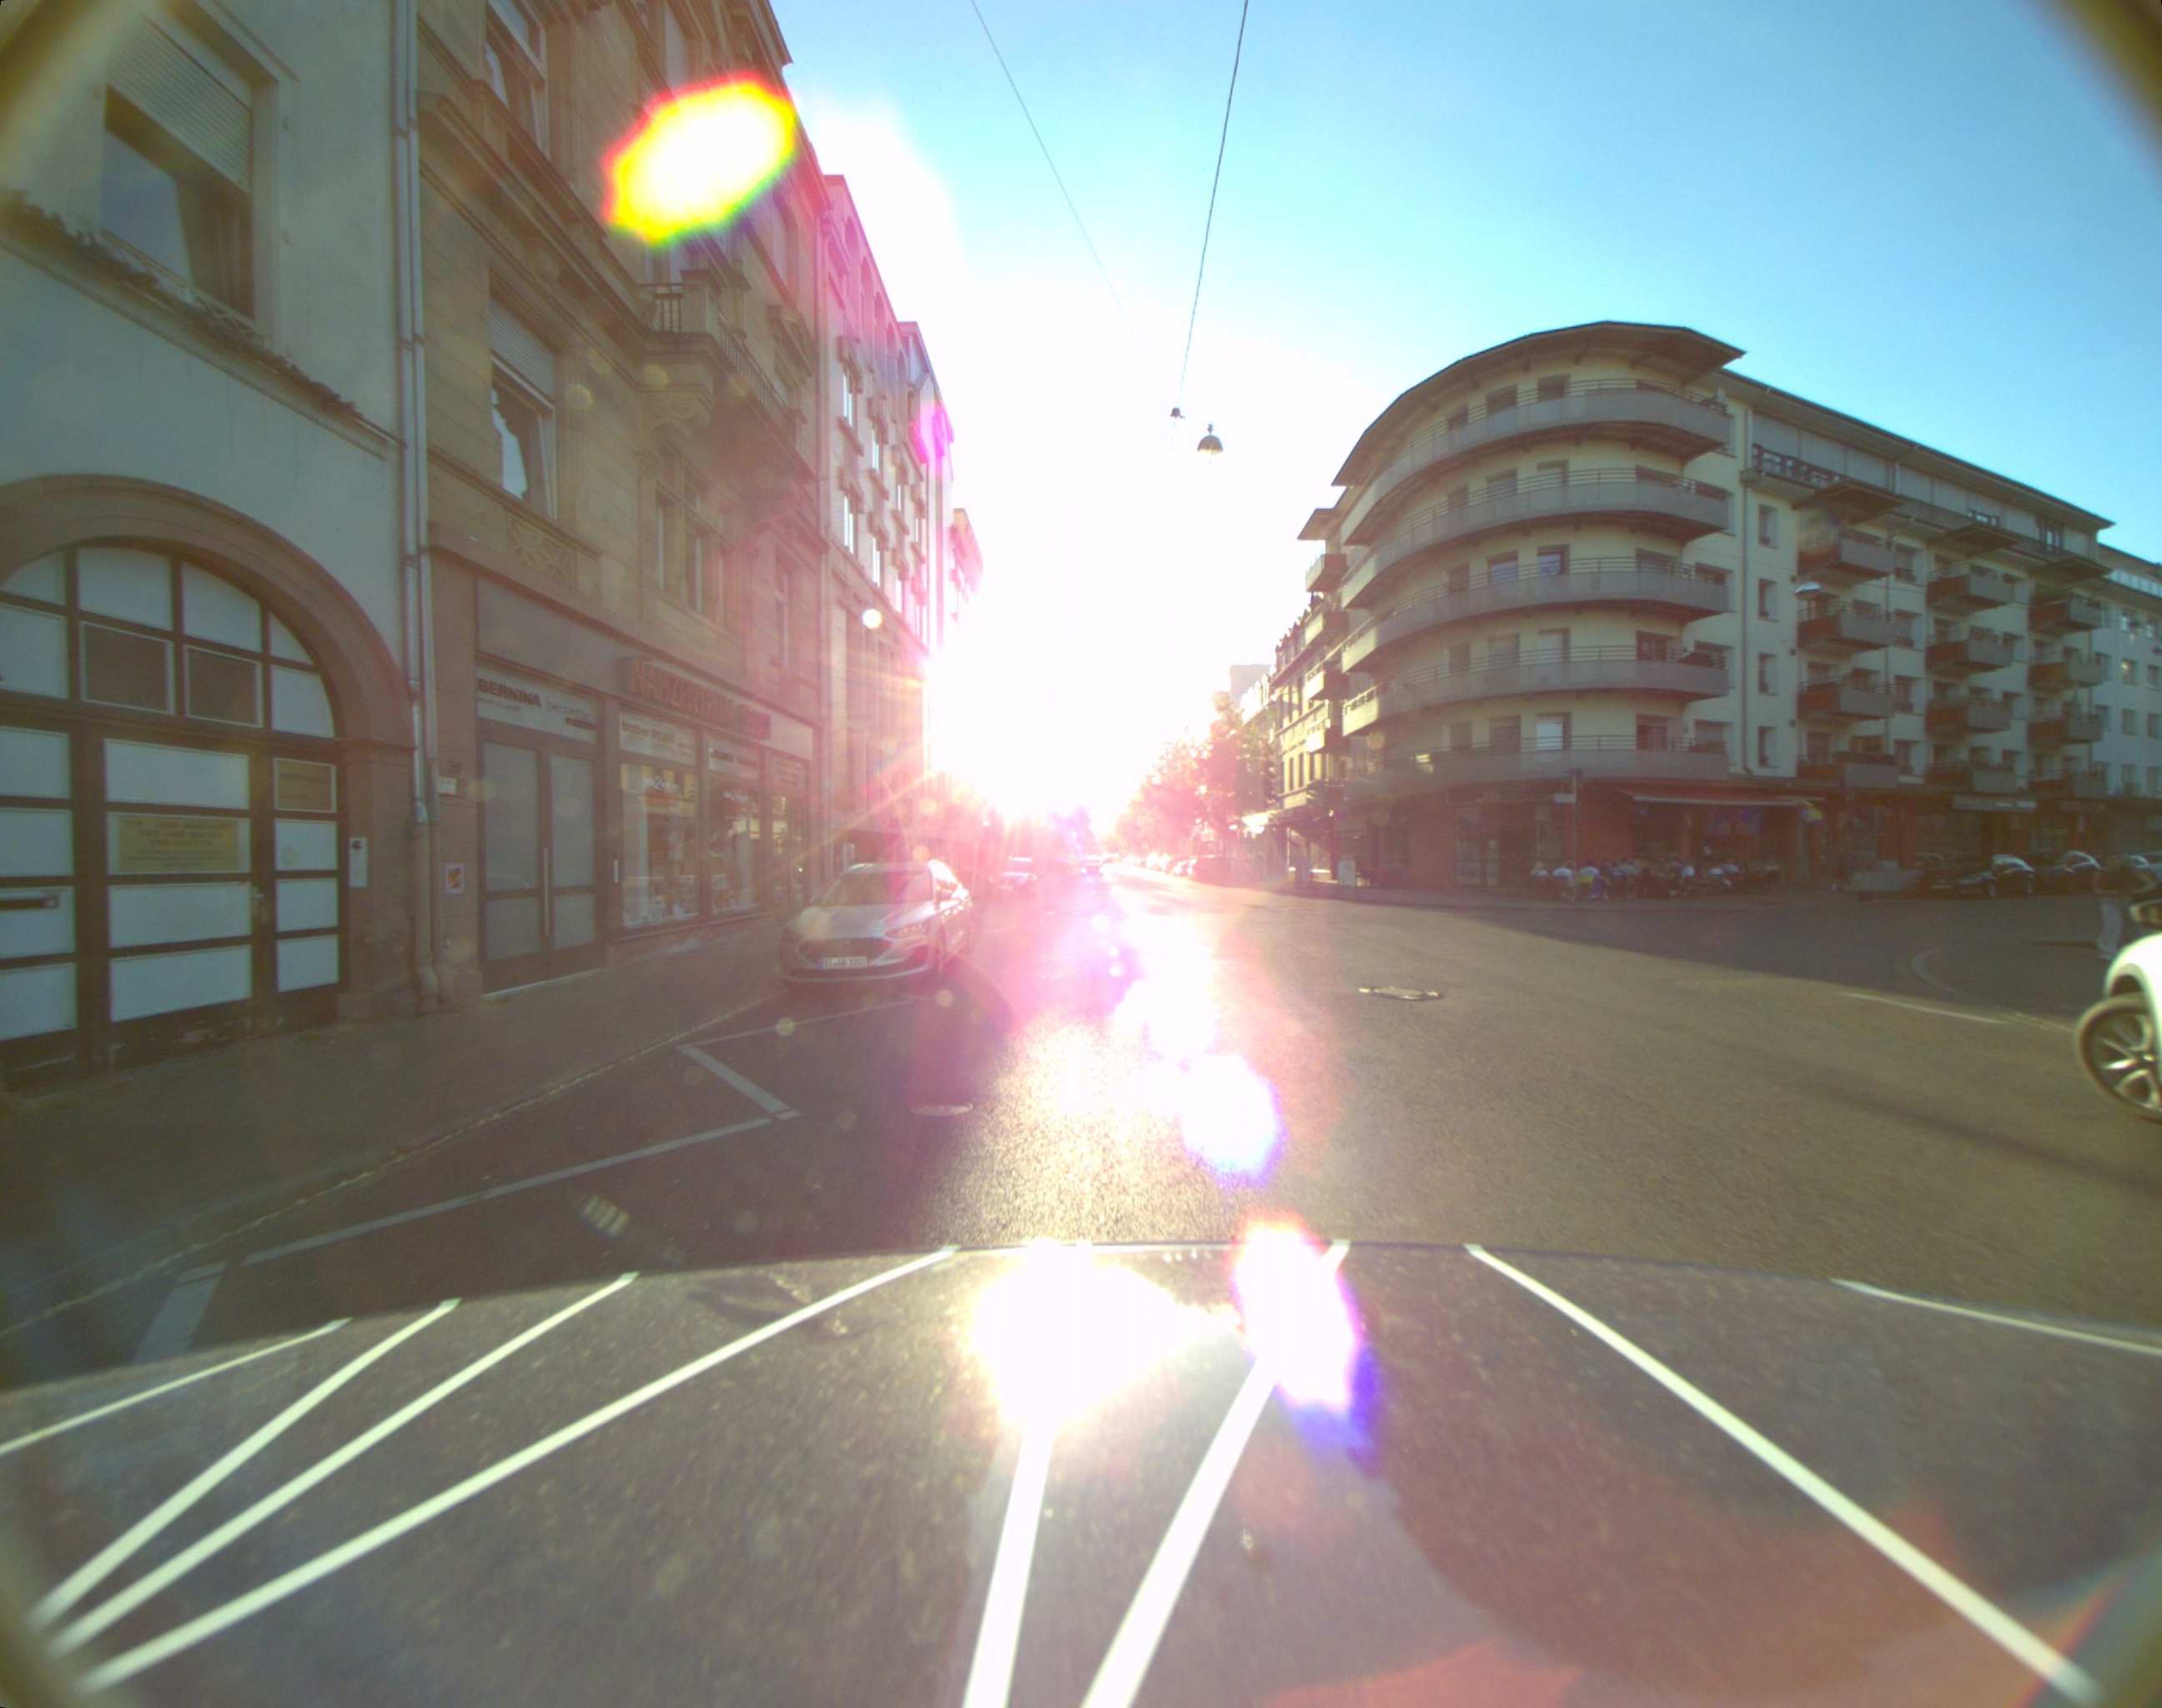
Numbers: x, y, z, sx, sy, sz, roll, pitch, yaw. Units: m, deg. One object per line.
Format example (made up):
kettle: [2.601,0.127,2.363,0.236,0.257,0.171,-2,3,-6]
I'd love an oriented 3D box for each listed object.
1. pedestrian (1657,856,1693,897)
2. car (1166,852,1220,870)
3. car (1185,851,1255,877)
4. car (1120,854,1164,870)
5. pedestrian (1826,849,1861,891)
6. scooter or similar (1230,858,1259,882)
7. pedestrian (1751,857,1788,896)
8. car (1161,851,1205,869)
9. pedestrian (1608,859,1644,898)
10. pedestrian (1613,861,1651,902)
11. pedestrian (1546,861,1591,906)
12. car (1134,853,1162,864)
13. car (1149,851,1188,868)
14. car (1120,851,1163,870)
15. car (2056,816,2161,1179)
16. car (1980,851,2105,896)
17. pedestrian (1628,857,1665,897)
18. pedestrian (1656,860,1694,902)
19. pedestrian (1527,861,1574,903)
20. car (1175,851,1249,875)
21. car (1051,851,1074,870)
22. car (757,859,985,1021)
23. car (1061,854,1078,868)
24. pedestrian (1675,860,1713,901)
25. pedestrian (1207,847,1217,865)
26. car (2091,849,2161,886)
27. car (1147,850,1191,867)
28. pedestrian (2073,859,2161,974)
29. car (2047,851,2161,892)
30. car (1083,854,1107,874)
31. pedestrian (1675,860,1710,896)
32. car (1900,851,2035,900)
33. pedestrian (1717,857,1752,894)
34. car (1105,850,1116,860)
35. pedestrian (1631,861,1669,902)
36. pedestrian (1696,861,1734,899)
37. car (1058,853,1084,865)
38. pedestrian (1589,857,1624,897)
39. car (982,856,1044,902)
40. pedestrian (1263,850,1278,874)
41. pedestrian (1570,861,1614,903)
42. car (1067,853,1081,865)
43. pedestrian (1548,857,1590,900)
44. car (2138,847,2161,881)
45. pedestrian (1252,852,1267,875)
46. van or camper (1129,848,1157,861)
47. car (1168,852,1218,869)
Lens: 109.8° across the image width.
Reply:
pedestrian: [19.897,0.745,25.458,0.622,1.326,0.701,0,2,-8]
car: [9.361,0.587,63.664,4.117,1.395,1.884,-2,0,-1]
car: [8.833,0.642,48.503,4.082,1.527,1.884,-2,0,1]
car: [6.085,0.806,75.725,4.160,1.413,1.766,-2,0,-1]
pedestrian: [26.970,0.562,26.873,0.702,1.461,0.620,-1,2,-25]
scooter or similar: [8.771,0.872,40.843,1.402,1.219,0.525,-2,1,-2]
pedestrian: [23.876,0.767,26.361,0.622,1.281,0.700,-1,2,-20]
car: [9.277,0.543,69.203,3.748,1.435,1.805,-2,0,-2]
pedestrian: [17.821,0.782,24.870,0.622,1.240,0.701,0,2,-8]
pedestrian: [17.255,0.838,23.801,0.622,1.240,0.701,0,2,-8]
pedestrian: [14.408,0.866,22.466,0.829,1.266,0.748,0,2,-8]
car: [9.911,0.689,112.397,3.876,1.448,1.744,-1,0,-1]
car: [8.403,0.556,73.191,3.565,1.493,1.716,-2,0,0]
car: [6.219,0.656,78.541,4.160,1.762,1.889,-2,0,-1]
car: [5.537,0.693,2.508,1.994,1.751,4.475,0,0,41]
car: [37.073,0.697,29.304,4.004,1.587,1.967,-1,0,-22]
pedestrian: [18.763,0.755,25.213,0.657,1.281,0.701,0,2,-8]
pedestrian: [18.856,0.853,24.140,0.622,1.281,0.701,0,2,-8]
pedestrian: [14.255,0.838,23.090,0.900,1.235,0.767,0,2,-8]
car: [8.727,0.586,50.882,4.582,1.399,1.821,-2,0,0]
car: [-1.820,0.627,76.157,2.043,1.727,4.712,1,0,2]
car: [-2.487,0.911,10.346,1.763,1.528,4.820,-3,1,-1]
car: [-1.253,0.777,83.121,1.734,1.479,3.900,1,0,-2]
pedestrian: [19.691,0.844,24.408,0.622,1.281,0.701,0,2,-8]
pedestrian: [12.672,0.220,73.559,0.774,1.712,0.875,-2,2,1]
car: [48.128,0.569,34.372,4.004,1.587,1.967,-1,0,-22]
car: [9.321,0.482,80.906,4.417,1.586,1.890,-2,0,0]
pedestrian: [14.943,0.859,10.850,0.901,1.557,0.766,0,0,-24]
car: [42.336,0.688,31.378,4.004,1.587,1.967,-1,0,-22]
car: [1.137,0.786,61.639,1.825,1.469,4.155,-1,0,2]
pedestrian: [21.252,0.824,26.407,0.622,1.218,0.701,0,2,-12]
car: [31.560,0.718,27.070,4.004,1.587,1.967,-1,0,-22]
pedestrian: [23.265,0.753,27.059,0.622,1.281,0.700,-1,2,-20]
car: [5.132,0.213,131.926,1.866,1.682,4.461,0,-1,1]
pedestrian: [17.952,0.849,23.976,0.622,1.240,0.701,0,2,-8]
pedestrian: [20.913,0.858,25.078,0.622,1.218,0.701,0,2,-12]
car: [-1.350,0.747,108.642,1.661,1.574,3.632,0,-1,42]
pedestrian: [17.126,0.738,24.778,0.622,1.240,0.701,0,2,-8]
car: [-2.494,0.877,28.715,1.763,1.527,4.000,2,0,2]
pedestrian: [12.706,0.525,50.945,0.774,1.599,0.875,-2,2,1]
pedestrian: [15.493,0.839,23.042,0.724,1.240,0.829,0,2,-5]
car: [-0.943,0.687,99.313,1.695,1.534,3.553,1,0,1]
pedestrian: [15.435,0.762,24.045,0.748,1.340,0.829,0,2,-5]
car: [52.391,0.445,35.908,4.004,1.587,1.967,-1,0,-22]
pedestrian: [11.961,0.634,50.889,0.736,1.519,0.875,-2,2,1]
van or camper: [10.358,0.074,126.931,4.469,1.945,1.789,-1,0,2]
car: [9.715,0.524,66.285,4.107,1.395,1.843,-1,0,3]
